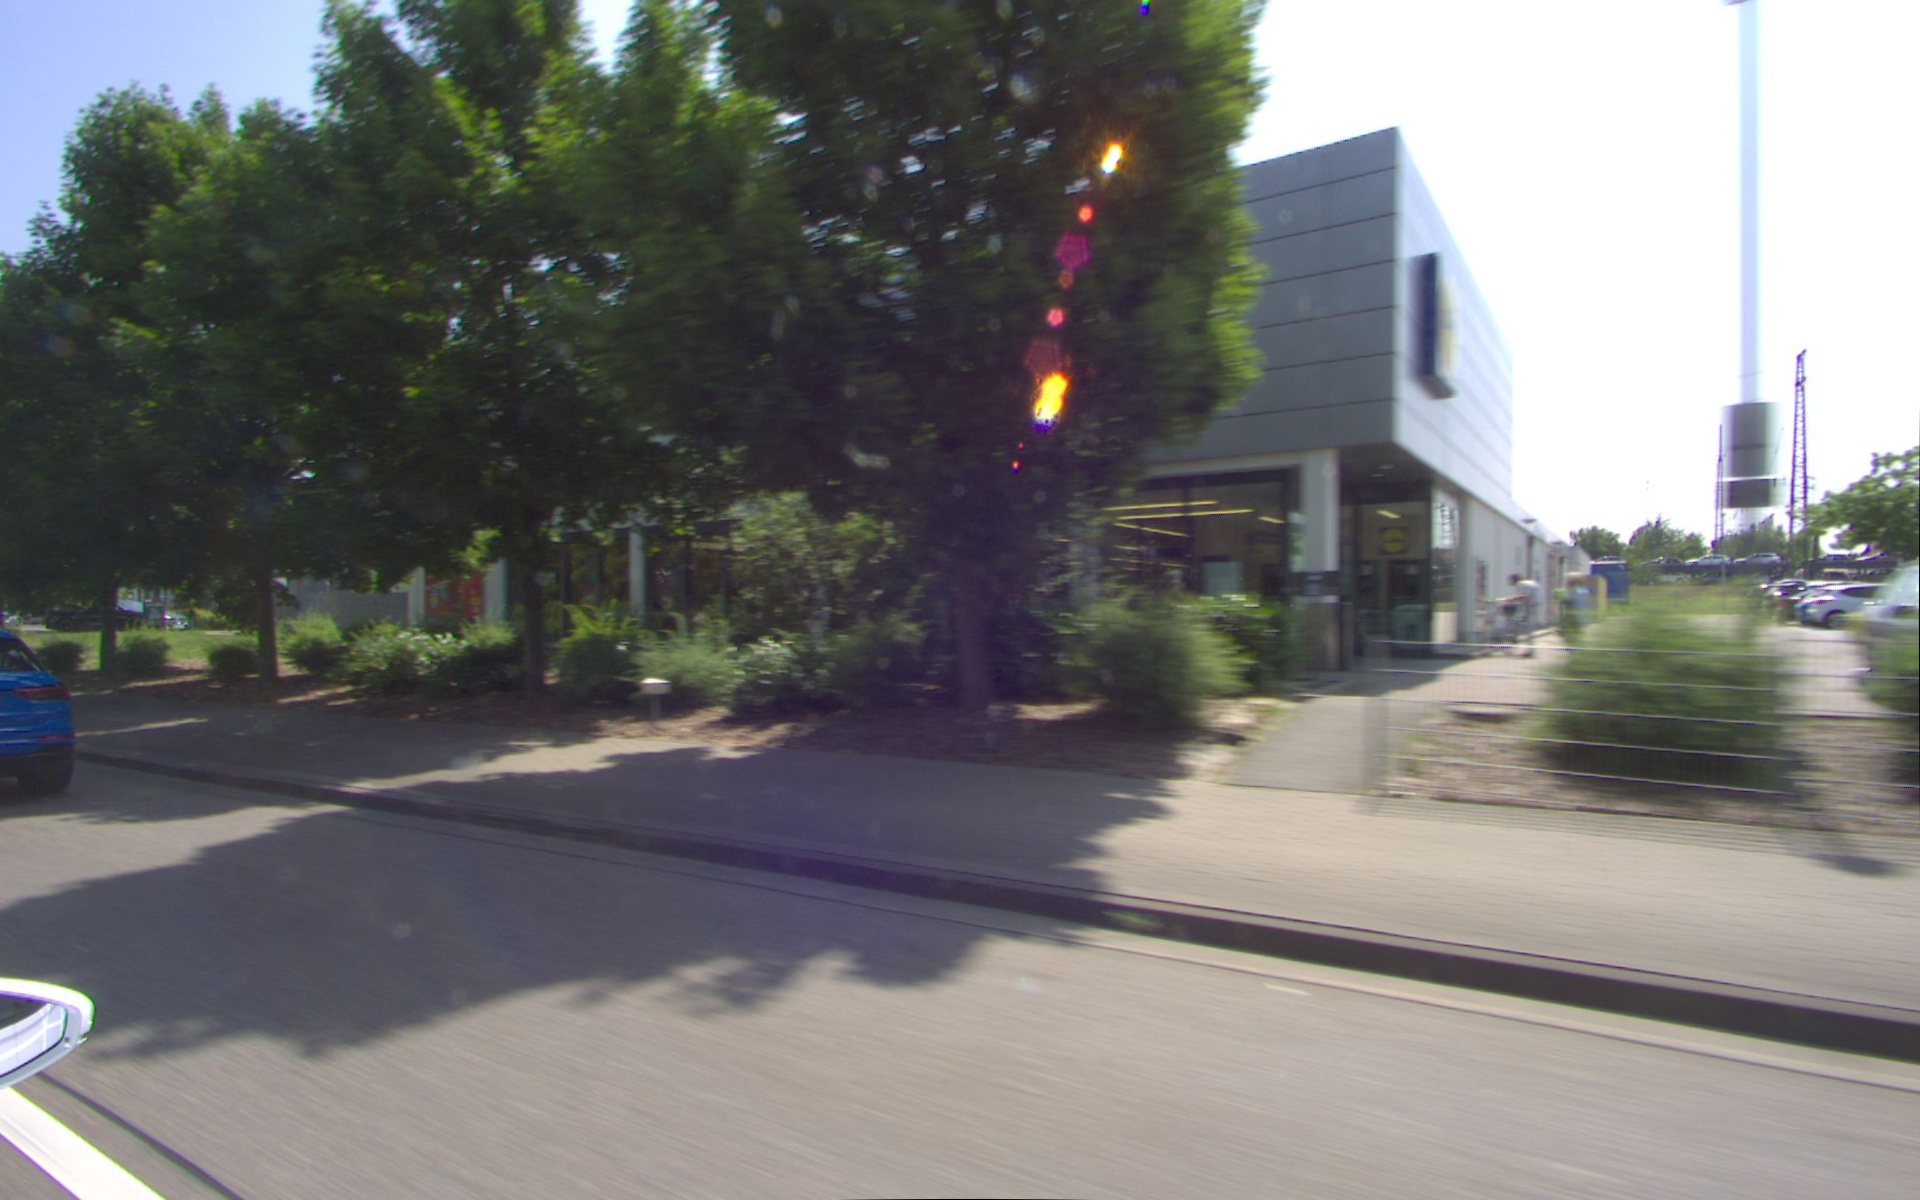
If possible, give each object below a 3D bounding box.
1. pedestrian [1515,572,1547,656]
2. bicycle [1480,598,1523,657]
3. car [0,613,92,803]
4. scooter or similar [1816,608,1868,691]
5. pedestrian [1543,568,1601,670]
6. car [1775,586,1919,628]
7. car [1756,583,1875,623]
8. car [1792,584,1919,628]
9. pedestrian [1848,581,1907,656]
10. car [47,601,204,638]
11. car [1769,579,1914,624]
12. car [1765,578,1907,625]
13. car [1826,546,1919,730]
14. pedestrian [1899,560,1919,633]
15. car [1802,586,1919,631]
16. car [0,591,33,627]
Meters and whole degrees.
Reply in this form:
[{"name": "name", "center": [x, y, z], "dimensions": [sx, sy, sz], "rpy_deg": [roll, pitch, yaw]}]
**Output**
[{"name": "pedestrian", "center": [11.040, 0.272, 19.345], "dimensions": [0.526, 1.595, 0.587], "rpy_deg": [0, 1, 31]}, {"name": "bicycle", "center": [10.659, 0.521, 19.694], "dimensions": [0.412, 1.103, 1.368], "rpy_deg": [0, 1, 44]}, {"name": "car", "center": [-10.127, 0.937, 9.423], "dimensions": [4.287, 1.613, 1.805], "rpy_deg": [-1, -1, 32]}, {"name": "scooter or similar", "center": [10.697, 0.590, 12.156], "dimensions": [0.383, 0.968, 0.432], "rpy_deg": [0, 2, 31]}, {"name": "pedestrian", "center": [9.810, 0.303, 16.051], "dimensions": [0.759, 1.595, 0.557], "rpy_deg": [0, 1, 37]}, {"name": "car", "center": [32.158, 0.254, 36.278], "dimensions": [3.946, 1.433, 1.749], "rpy_deg": [-1, 0, 35]}, {"name": "car", "center": [38.901, 0.145, 45.674], "dimensions": [3.946, 1.741, 1.749], "rpy_deg": [-1, 1, 35]}, {"name": "car", "center": [31.024, 0.208, 34.117], "dimensions": [3.946, 1.433, 1.749], "rpy_deg": [-1, 0, 35]}, {"name": "pedestrian", "center": [10.808, 0.210, 11.803], "dimensions": [0.410, 0.862, 0.446], "rpy_deg": [0, 2, 30]}, {"name": "car", "center": [-33.218, 0.769, 39.959], "dimensions": [4.623, 1.370, 1.953], "rpy_deg": [-1, 0, 1]}, {"name": "car", "center": [36.043, 0.074, 41.103], "dimensions": [4.264, 1.741, 1.749], "rpy_deg": [-1, 1, 35]}, {"name": "car", "center": [33.787, 0.065, 38.761], "dimensions": [3.946, 1.741, 1.749], "rpy_deg": [-1, 1, 35]}, {"name": "car", "center": [9.819, 0.296, 9.177], "dimensions": [1.993, 1.617, 4.981], "rpy_deg": [-1, 1, 31]}, {"name": "pedestrian", "center": [24.869, -0.096, 25.913], "dimensions": [0.801, 1.874, 0.573], "rpy_deg": [-1, 1, -24]}, {"name": "car", "center": [29.492, 0.252, 31.895], "dimensions": [3.946, 1.372, 1.749], "rpy_deg": [-1, 0, 35]}, {"name": "car", "center": [-41.256, 0.387, 41.815], "dimensions": [5.512, 1.469, 1.905], "rpy_deg": [-1, -1, 27]}]
